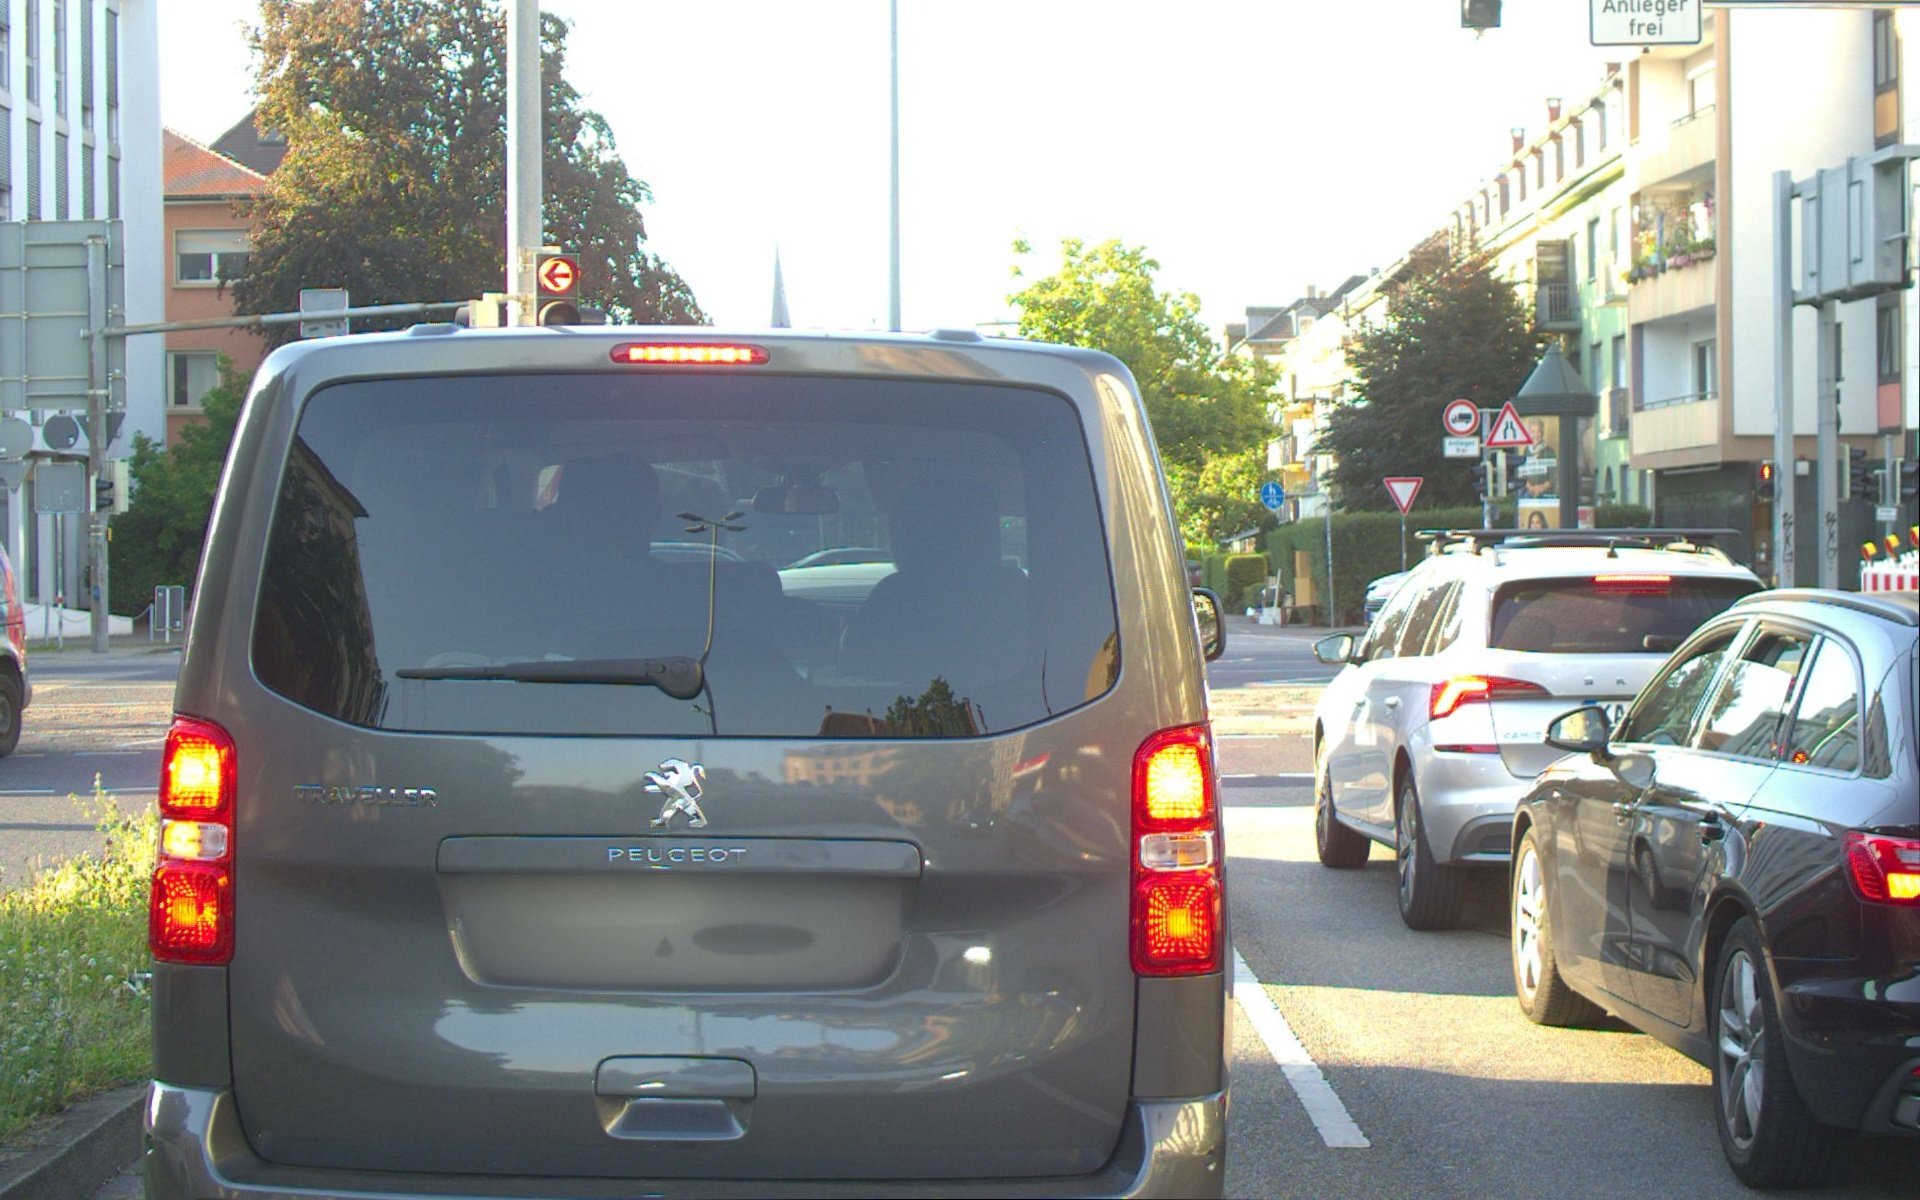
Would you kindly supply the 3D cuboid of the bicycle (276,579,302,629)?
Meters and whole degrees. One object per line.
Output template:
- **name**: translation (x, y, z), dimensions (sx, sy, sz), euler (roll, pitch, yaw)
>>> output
- **bicycle**: translation (-12.967, 0.067, 66.466), dimensions (0.291, 0.945, 1.072), euler (0, 1, -1)

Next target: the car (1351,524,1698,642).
- **car**: translation (7.084, -0.232, 43.168), dimensions (3.986, 1.413, 1.682), euler (-1, 1, -20)

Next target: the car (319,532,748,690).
- **car**: translation (-4.142, 0.069, 33.948), dimensions (1.701, 1.437, 4.233), euler (0, 1, 38)

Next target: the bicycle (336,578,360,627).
- **bicycle**: translation (-11.980, 0.050, 67.303), dimensions (0.276, 0.945, 1.072), euler (0, 1, -1)

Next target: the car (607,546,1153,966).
- **car**: translation (-0.318, 0.541, 14.631), dimensions (1.993, 1.525, 4.000), euler (0, 1, -1)

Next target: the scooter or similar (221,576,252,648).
- **scooter or similar**: translation (-12.262, 0.196, 58.307), dimensions (0.285, 1.184, 1.169), euler (0, 1, -1)

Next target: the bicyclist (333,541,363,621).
- **bicyclist**: translation (-11.977, -0.369, 67.280), dimensions (0.477, 1.550, 0.509), euler (0, 1, -1)

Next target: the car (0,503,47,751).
- **car**: translation (-8.199, 0.231, 24.031), dimensions (1.994, 1.811, 4.228), euler (0, 1, 8)

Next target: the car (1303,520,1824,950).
- **car**: translation (2.476, 0.482, 14.906), dimensions (1.528, 1.608, 3.745), euler (1, 1, -1)

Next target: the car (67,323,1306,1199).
- **car**: translation (-0.458, 0.477, 7.621), dimensions (1.907, 1.857, 4.527), euler (1, 1, -1)

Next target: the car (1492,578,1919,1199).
- **car**: translation (2.628, 0.685, 9.207), dimensions (1.681, 1.416, 4.214), euler (1, 1, -1)

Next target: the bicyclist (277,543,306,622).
- **bicyclist**: translation (-12.924, -0.345, 66.505), dimensions (0.462, 1.516, 0.469), euler (0, 1, -1)

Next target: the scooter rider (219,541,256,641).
- **scooter rider**: translation (-12.258, -0.157, 58.321), dimensions (0.481, 1.691, 0.636), euler (0, 1, -1)

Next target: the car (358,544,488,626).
- **car**: translation (-9.709, -0.296, 62.450), dimensions (1.856, 1.415, 4.001), euler (-1, 1, -2)

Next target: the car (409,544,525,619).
- **car**: translation (-9.724, -0.383, 68.086), dimensions (1.856, 1.415, 4.001), euler (-1, 1, -2)
